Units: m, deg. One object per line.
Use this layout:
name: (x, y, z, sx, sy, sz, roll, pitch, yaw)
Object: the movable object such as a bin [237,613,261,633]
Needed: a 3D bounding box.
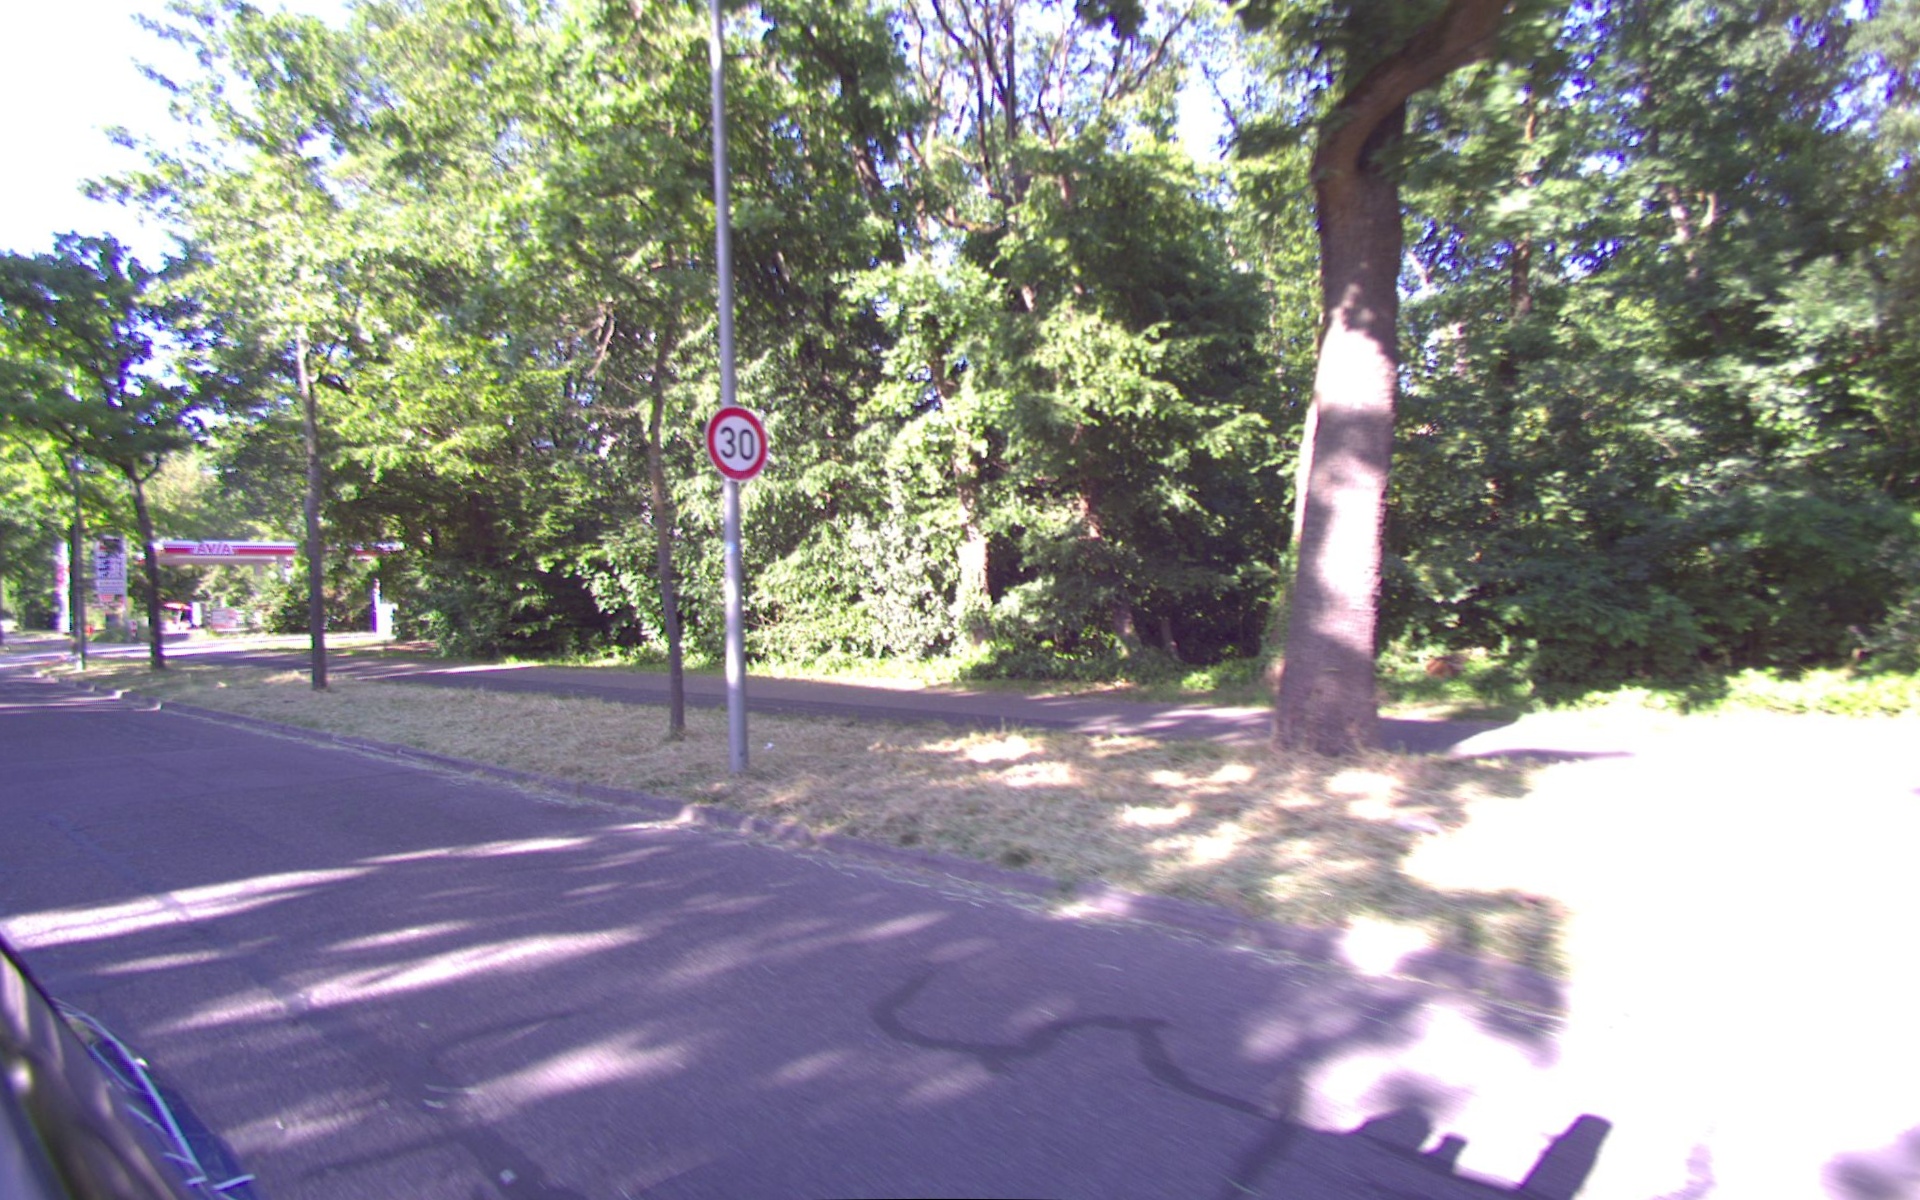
movable object such as a bin: (-57.947, 1.861, 82.464, 1.163, 1.553, 1.290, -2, 1, 42)
